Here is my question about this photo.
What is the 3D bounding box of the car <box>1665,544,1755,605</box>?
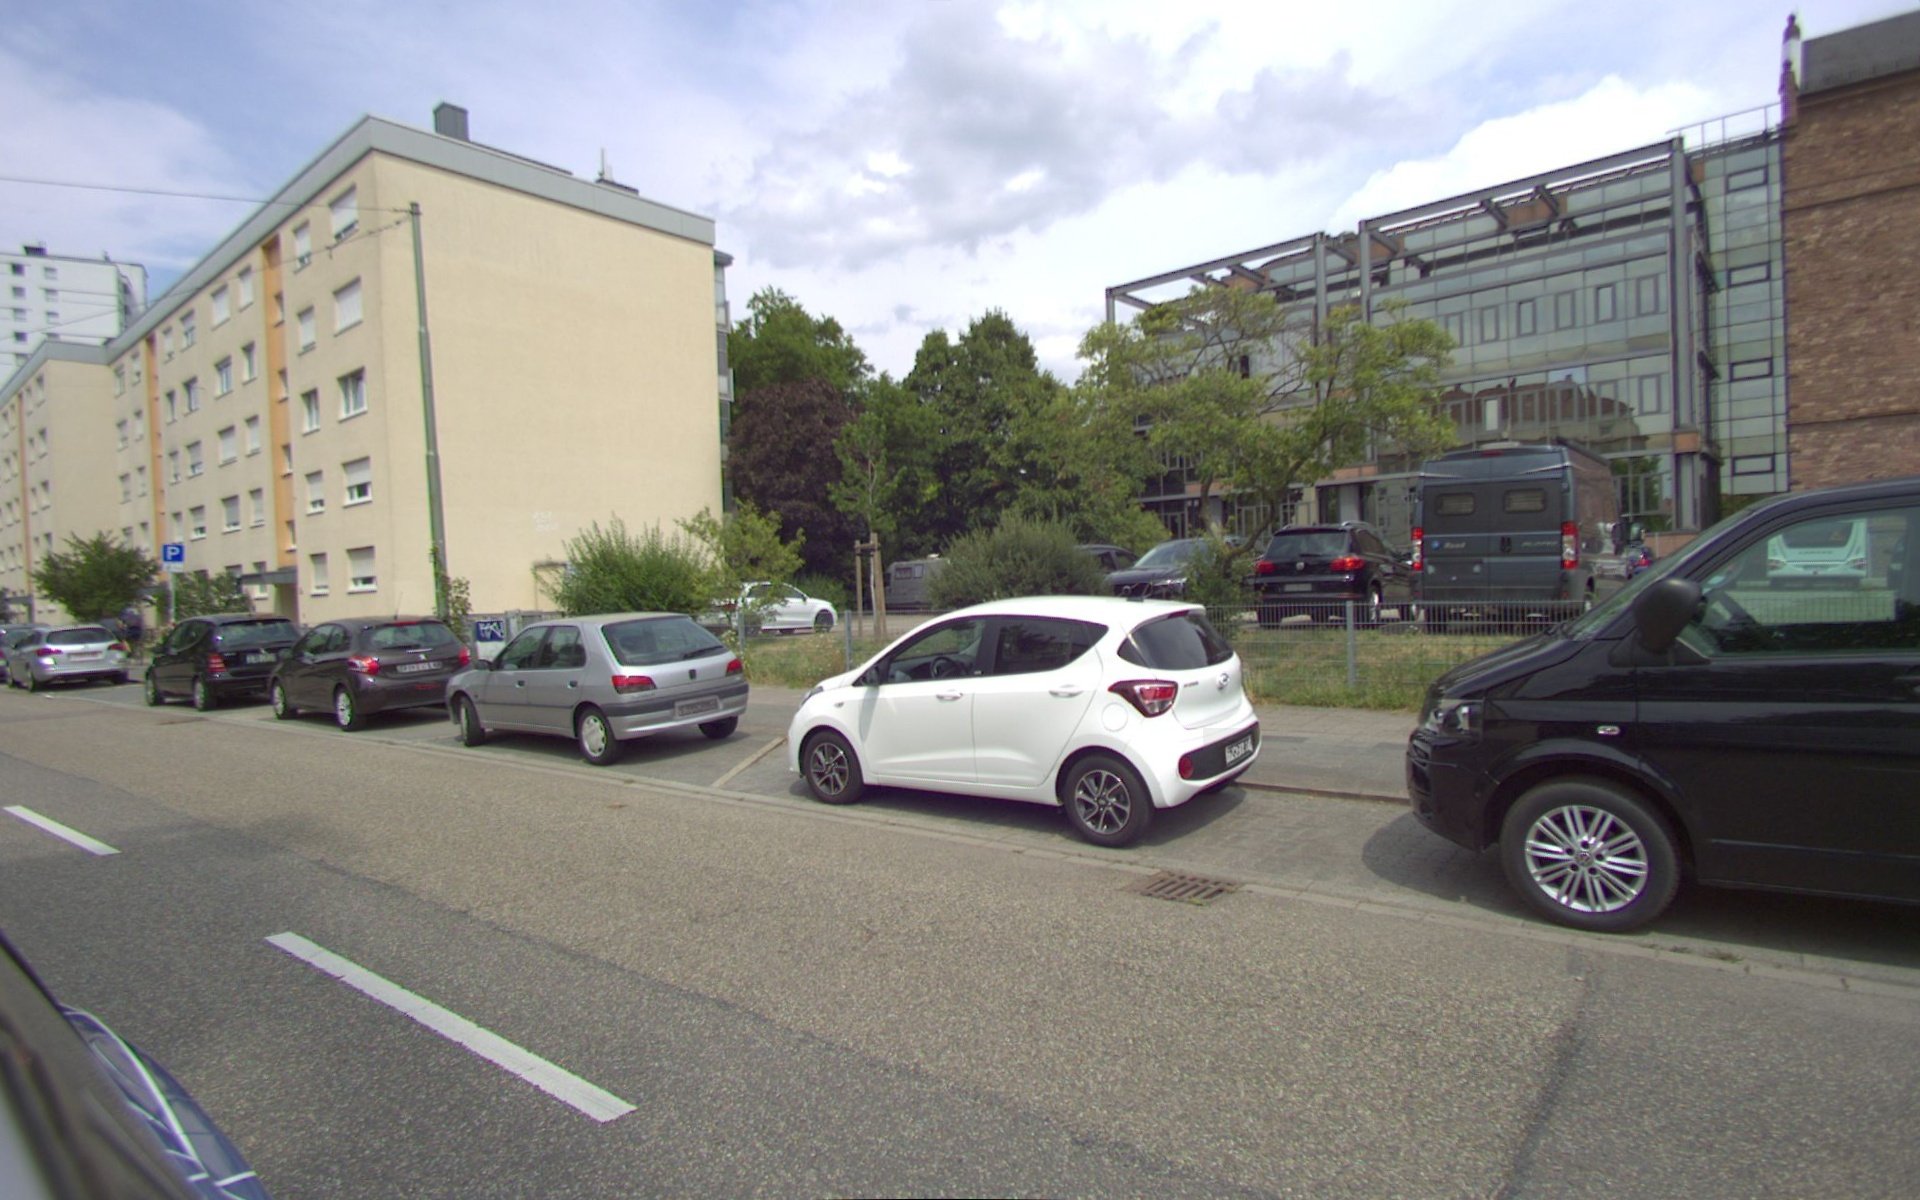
[{"bbox_3d":[23.994,-0.800,32.326,1.727,1.797,4.313,-2,0,44],"label":"car"}]

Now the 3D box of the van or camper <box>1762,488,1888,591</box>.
[{"bbox_3d":[25.558,-1.700,30.096,2.579,2.723,4.999,-2,0,39],"label":"van or camper"}]

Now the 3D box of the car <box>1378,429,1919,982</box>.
[{"bbox_3d":[4.524,0.317,4.071,4.838,2.019,1.930,-2,2,39],"label":"car"}]

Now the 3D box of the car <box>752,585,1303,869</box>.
[{"bbox_3d":[0.368,0.777,7.527,3.759,1.541,1.638,-3,1,38],"label":"car"}]

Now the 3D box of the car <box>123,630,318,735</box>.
[{"bbox_3d":[-13.178,1.391,17.963,3.992,1.586,1.608,-2,1,36],"label":"car"}]

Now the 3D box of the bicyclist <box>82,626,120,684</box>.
[{"bbox_3d":[-24.920,1.587,29.372,0.764,1.619,0.609,-2,2,37],"label":"bicyclist"}]

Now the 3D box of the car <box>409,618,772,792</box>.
[{"bbox_3d":[-4.139,1.023,11.022,4.257,1.468,1.671,-3,1,38],"label":"car"}]

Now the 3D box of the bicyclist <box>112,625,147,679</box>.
[{"bbox_3d":[-26.065,1.625,31.753,0.764,1.619,0.609,-2,2,37],"label":"bicyclist"}]

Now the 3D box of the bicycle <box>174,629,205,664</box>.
[{"bbox_3d":[-27.867,1.665,36.608,2.019,1.216,0.527,-2,3,45],"label":"bicycle"}]

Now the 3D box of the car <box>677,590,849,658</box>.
[{"bbox_3d":[-5.083,0.583,26.405,3.941,1.494,2.001,-3,2,-44],"label":"car"}]

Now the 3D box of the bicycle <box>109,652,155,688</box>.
[{"bbox_3d":[-26.001,2.190,31.754,2.078,1.009,0.618,-2,2,38],"label":"bicycle"}]

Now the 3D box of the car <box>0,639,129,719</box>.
[{"bbox_3d":[-21.800,1.852,24.404,4.546,1.575,1.770,-3,2,39],"label":"car"}]

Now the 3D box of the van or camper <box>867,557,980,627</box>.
[{"bbox_3d":[-1.692,-0.338,45.378,4.898,2.894,1.973,-2,1,41],"label":"van or camper"}]

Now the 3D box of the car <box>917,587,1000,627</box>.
[{"bbox_3d":[-0.099,0.327,47.207,3.725,1.726,1.603,-2,-1,42],"label":"car"}]

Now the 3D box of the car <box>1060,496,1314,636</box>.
[{"bbox_3d":[4.248,-0.568,18.358,2.228,2.166,5.031,-3,0,42],"label":"car"}]

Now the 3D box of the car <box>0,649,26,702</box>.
[{"bbox_3d":[-30.185,2.316,30.797,4.254,1.515,1.663,-2,2,35],"label":"car"}]

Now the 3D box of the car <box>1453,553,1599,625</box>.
[{"bbox_3d":[14.728,-0.279,26.215,2.330,1.676,4.643,-2,0,42],"label":"car"}]

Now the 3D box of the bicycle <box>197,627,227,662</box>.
[{"bbox_3d":[-27.399,1.604,37.051,2.019,1.216,0.526,-2,2,45],"label":"bicycle"}]

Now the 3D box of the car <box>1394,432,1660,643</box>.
[{"bbox_3d":[8.624,-0.823,15.120,2.354,2.571,5.256,-2,1,41],"label":"car"}]

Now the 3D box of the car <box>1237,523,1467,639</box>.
[{"bbox_3d":[6.590,-0.331,16.708,2.000,1.630,4.647,-3,0,42],"label":"car"}]

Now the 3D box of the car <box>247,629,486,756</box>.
[{"bbox_3d":[-8.674,1.238,14.664,4.045,1.481,1.670,-2,1,40],"label":"car"}]

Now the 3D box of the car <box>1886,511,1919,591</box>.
[{"bbox_3d":[27.644,-1.374,28.799,1.726,2.152,4.316,-2,0,41],"label":"car"}]

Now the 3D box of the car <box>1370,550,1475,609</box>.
[{"bbox_3d":[12.892,-0.607,28.070,1.615,1.494,4.114,-1,1,40],"label":"car"}]

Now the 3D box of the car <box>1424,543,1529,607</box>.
[{"bbox_3d":[18.990,-0.882,37.118,2.205,2.152,4.313,-2,0,44],"label":"car"}]

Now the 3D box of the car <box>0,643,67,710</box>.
[{"bbox_3d":[-26.349,2.081,27.944,3.831,1.636,1.702,-2,1,36],"label":"car"}]
